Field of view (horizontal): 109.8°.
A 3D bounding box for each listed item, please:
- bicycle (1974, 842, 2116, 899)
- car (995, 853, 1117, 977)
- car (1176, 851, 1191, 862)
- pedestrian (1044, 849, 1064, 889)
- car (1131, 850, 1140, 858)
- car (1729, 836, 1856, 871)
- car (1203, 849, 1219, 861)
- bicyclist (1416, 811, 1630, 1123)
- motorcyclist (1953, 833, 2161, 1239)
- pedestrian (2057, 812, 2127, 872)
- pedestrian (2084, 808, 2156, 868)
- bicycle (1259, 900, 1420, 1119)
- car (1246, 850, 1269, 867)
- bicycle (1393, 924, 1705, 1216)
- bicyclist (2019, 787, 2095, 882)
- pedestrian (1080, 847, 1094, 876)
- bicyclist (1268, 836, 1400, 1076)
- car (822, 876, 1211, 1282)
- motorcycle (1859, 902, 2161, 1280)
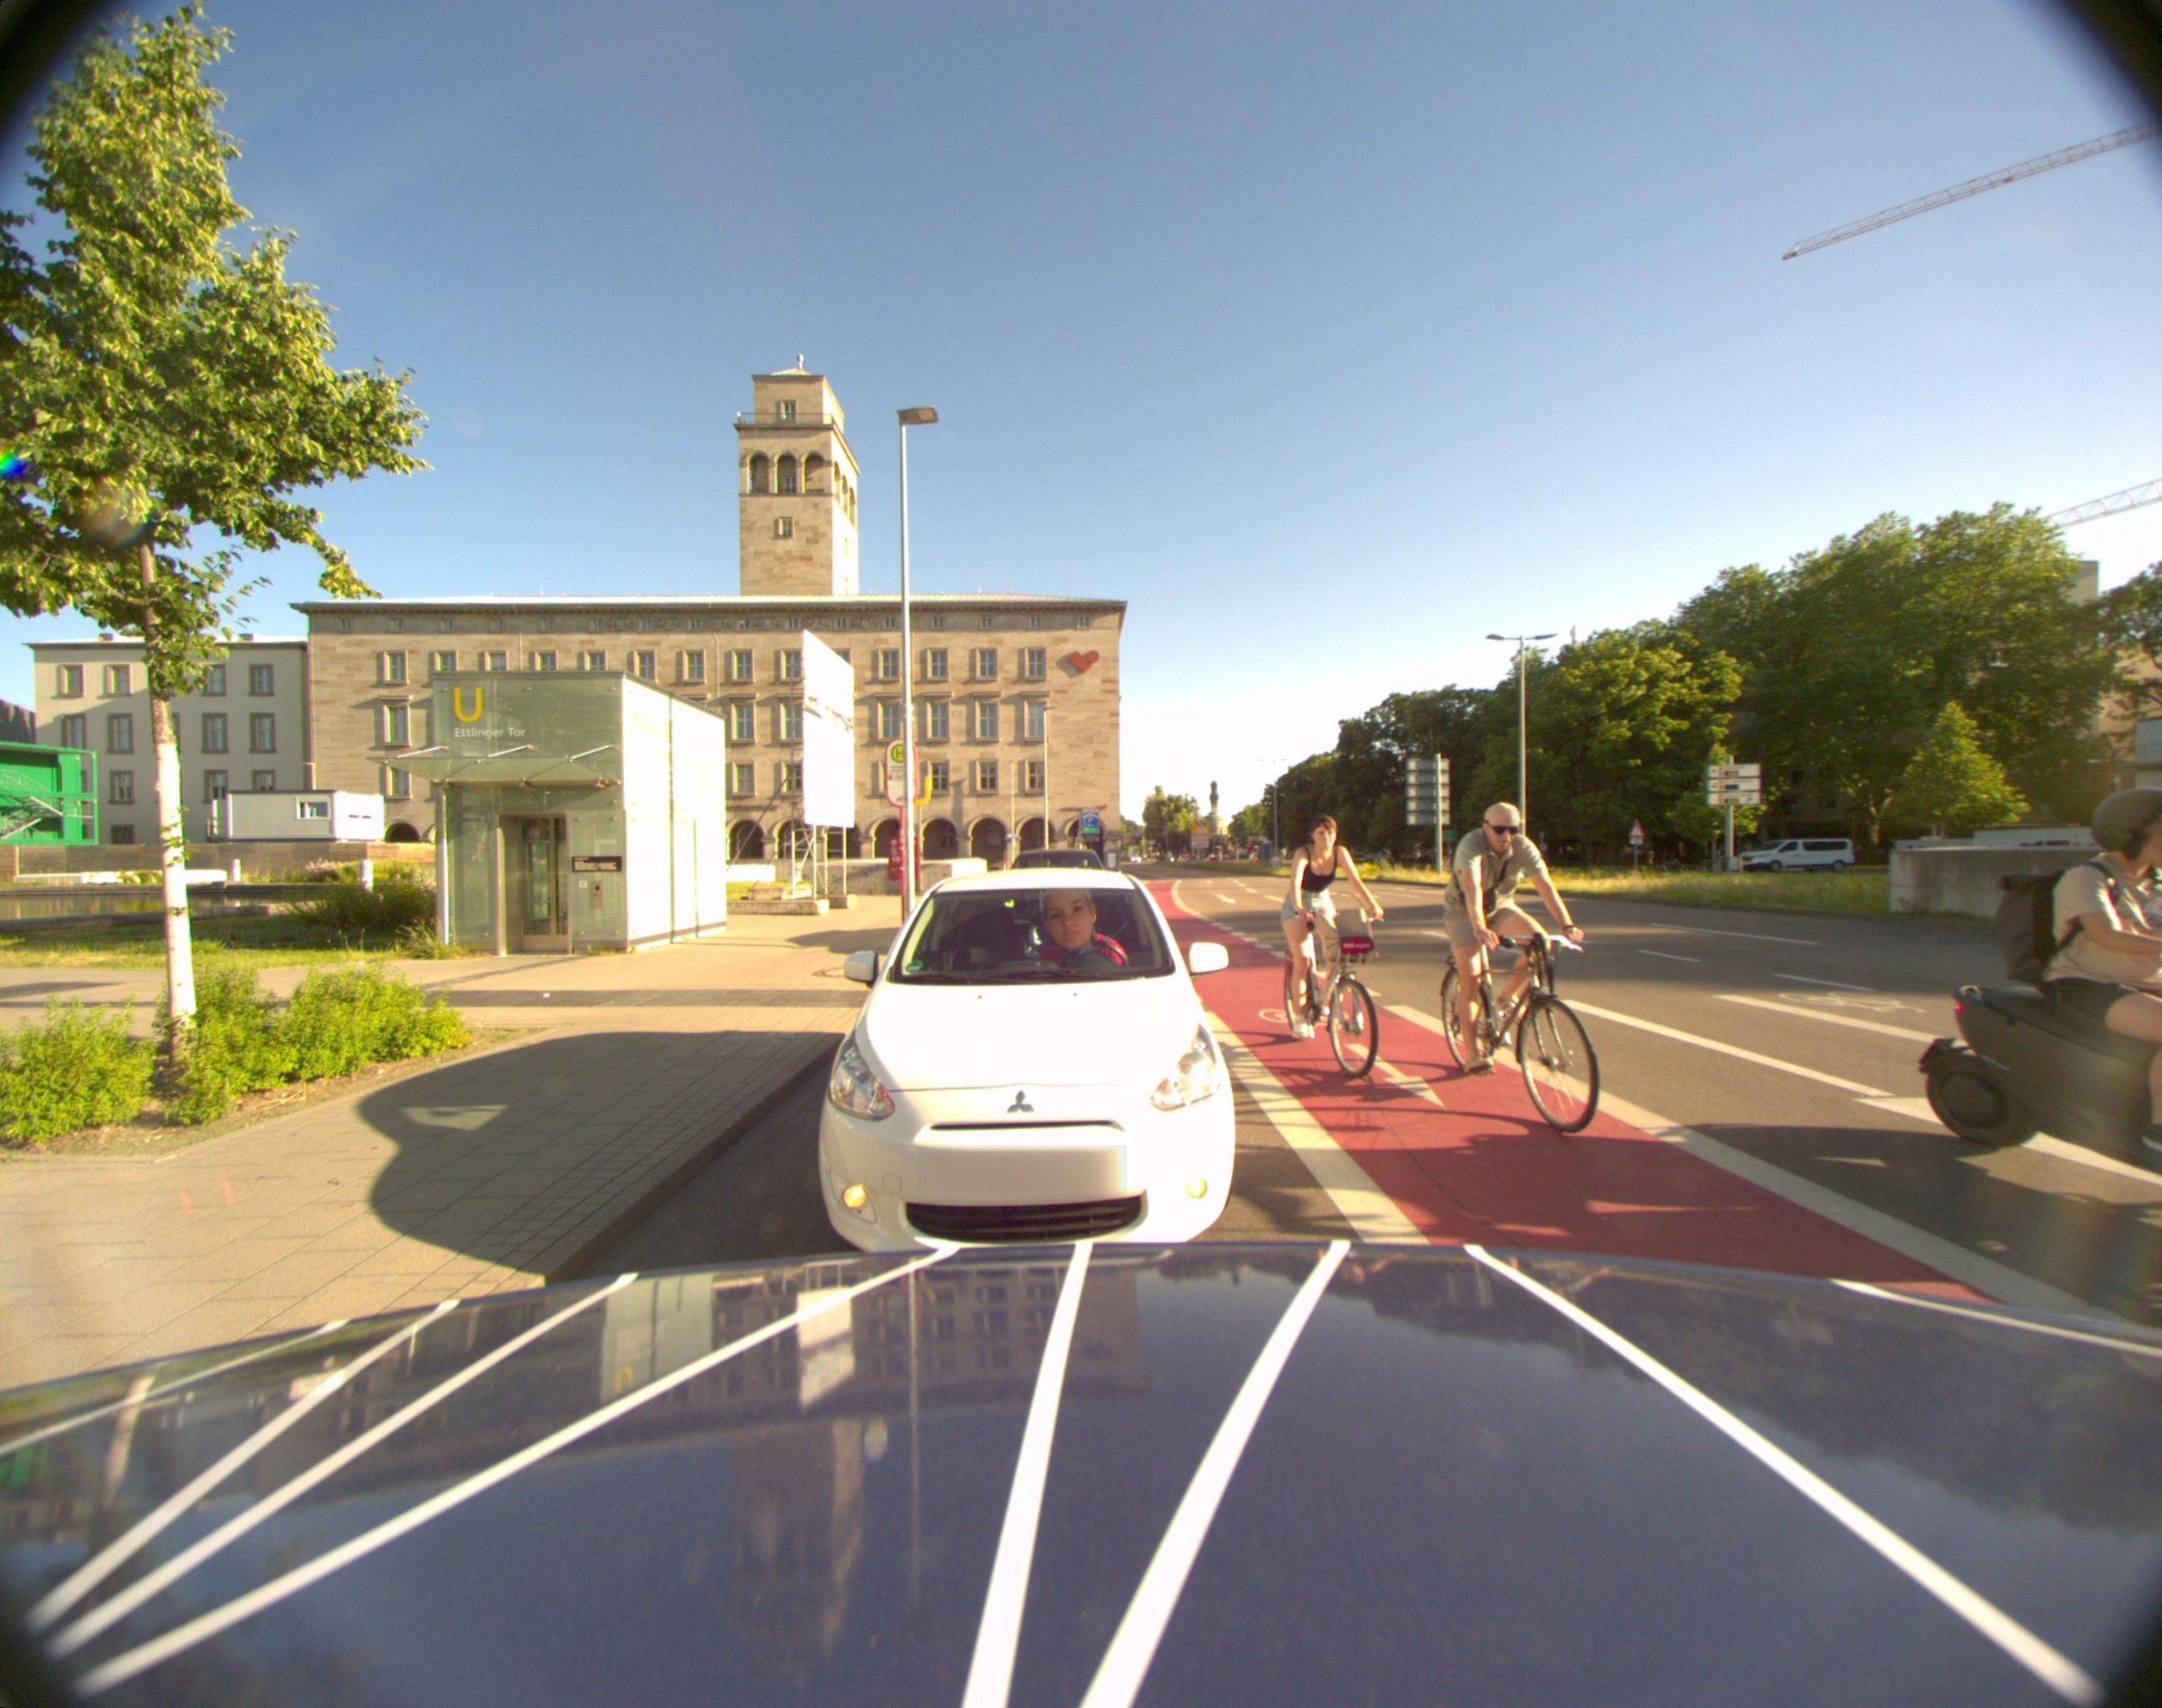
[{"bbox_3d":[32.854,0.544,26.010,0.841,1.800,3.082,-2,-1,-1],"label":"bicycle"},{"bbox_3d":[-0.373,0.841,12.515,1.642,1.653,3.849,-2,0,-1],"label":"car"},{"bbox_3d":[16.214,0.417,119.996,1.849,1.677,3.999,-2,1,1],"label":"car"},{"bbox_3d":[-1.735,0.933,49.032,1.122,2.524,1.055,-2,1,1],"label":"pedestrian"},{"bbox_3d":[11.759,0.010,163.796,1.849,1.677,4.000,-2,1,2],"label":"car"},{"bbox_3d":[42.133,-0.044,45.107,5.516,1.924,2.065,-1,1,2],"label":"car"},{"bbox_3d":[20.585,0.132,120.437,1.747,1.778,3.947,-2,1,1],"label":"car"},{"bbox_3d":[2.469,0.586,4.347,0.718,1.596,0.842,-2,1,3],"label":"bicyclist"},{"bbox_3d":[4.276,0.656,2.935,0.727,1.466,0.917,-2,0,1],"label":"motorcyclist"},{"bbox_3d":[34.932,-0.420,26.268,0.940,2.002,1.137,-2,1,-5],"label":"pedestrian"},{"bbox_3d":[35.966,-0.534,26.322,0.940,2.002,1.137,-2,1,-5],"label":"pedestrian"},{"bbox_3d":[1.797,1.014,5.575,0.617,1.211,1.832,-2,0,4],"label":"bicycle"},{"bbox_3d":[21.249,0.520,91.443,1.819,1.817,3.999,-2,1,1],"label":"car"},{"bbox_3d":[2.481,1.055,4.362,0.648,1.103,1.971,-2,0,4],"label":"bicycle"},{"bbox_3d":[32.806,-0.634,25.559,0.841,3.085,1.306,-2,1,-1],"label":"bicyclist"},{"bbox_3d":[0.538,0.652,66.279,1.122,2.524,1.055,-2,1,1],"label":"pedestrian"},{"bbox_3d":[1.778,0.676,5.451,0.643,1.570,0.875,-2,1,3],"label":"bicyclist"},{"bbox_3d":[-0.234,0.955,4.835,1.496,1.477,3.604,-2,0,1],"label":"car"},{"bbox_3d":[4.283,0.900,2.882,0.724,1.286,1.884,-2,0,1],"label":"motorcycle"}]
